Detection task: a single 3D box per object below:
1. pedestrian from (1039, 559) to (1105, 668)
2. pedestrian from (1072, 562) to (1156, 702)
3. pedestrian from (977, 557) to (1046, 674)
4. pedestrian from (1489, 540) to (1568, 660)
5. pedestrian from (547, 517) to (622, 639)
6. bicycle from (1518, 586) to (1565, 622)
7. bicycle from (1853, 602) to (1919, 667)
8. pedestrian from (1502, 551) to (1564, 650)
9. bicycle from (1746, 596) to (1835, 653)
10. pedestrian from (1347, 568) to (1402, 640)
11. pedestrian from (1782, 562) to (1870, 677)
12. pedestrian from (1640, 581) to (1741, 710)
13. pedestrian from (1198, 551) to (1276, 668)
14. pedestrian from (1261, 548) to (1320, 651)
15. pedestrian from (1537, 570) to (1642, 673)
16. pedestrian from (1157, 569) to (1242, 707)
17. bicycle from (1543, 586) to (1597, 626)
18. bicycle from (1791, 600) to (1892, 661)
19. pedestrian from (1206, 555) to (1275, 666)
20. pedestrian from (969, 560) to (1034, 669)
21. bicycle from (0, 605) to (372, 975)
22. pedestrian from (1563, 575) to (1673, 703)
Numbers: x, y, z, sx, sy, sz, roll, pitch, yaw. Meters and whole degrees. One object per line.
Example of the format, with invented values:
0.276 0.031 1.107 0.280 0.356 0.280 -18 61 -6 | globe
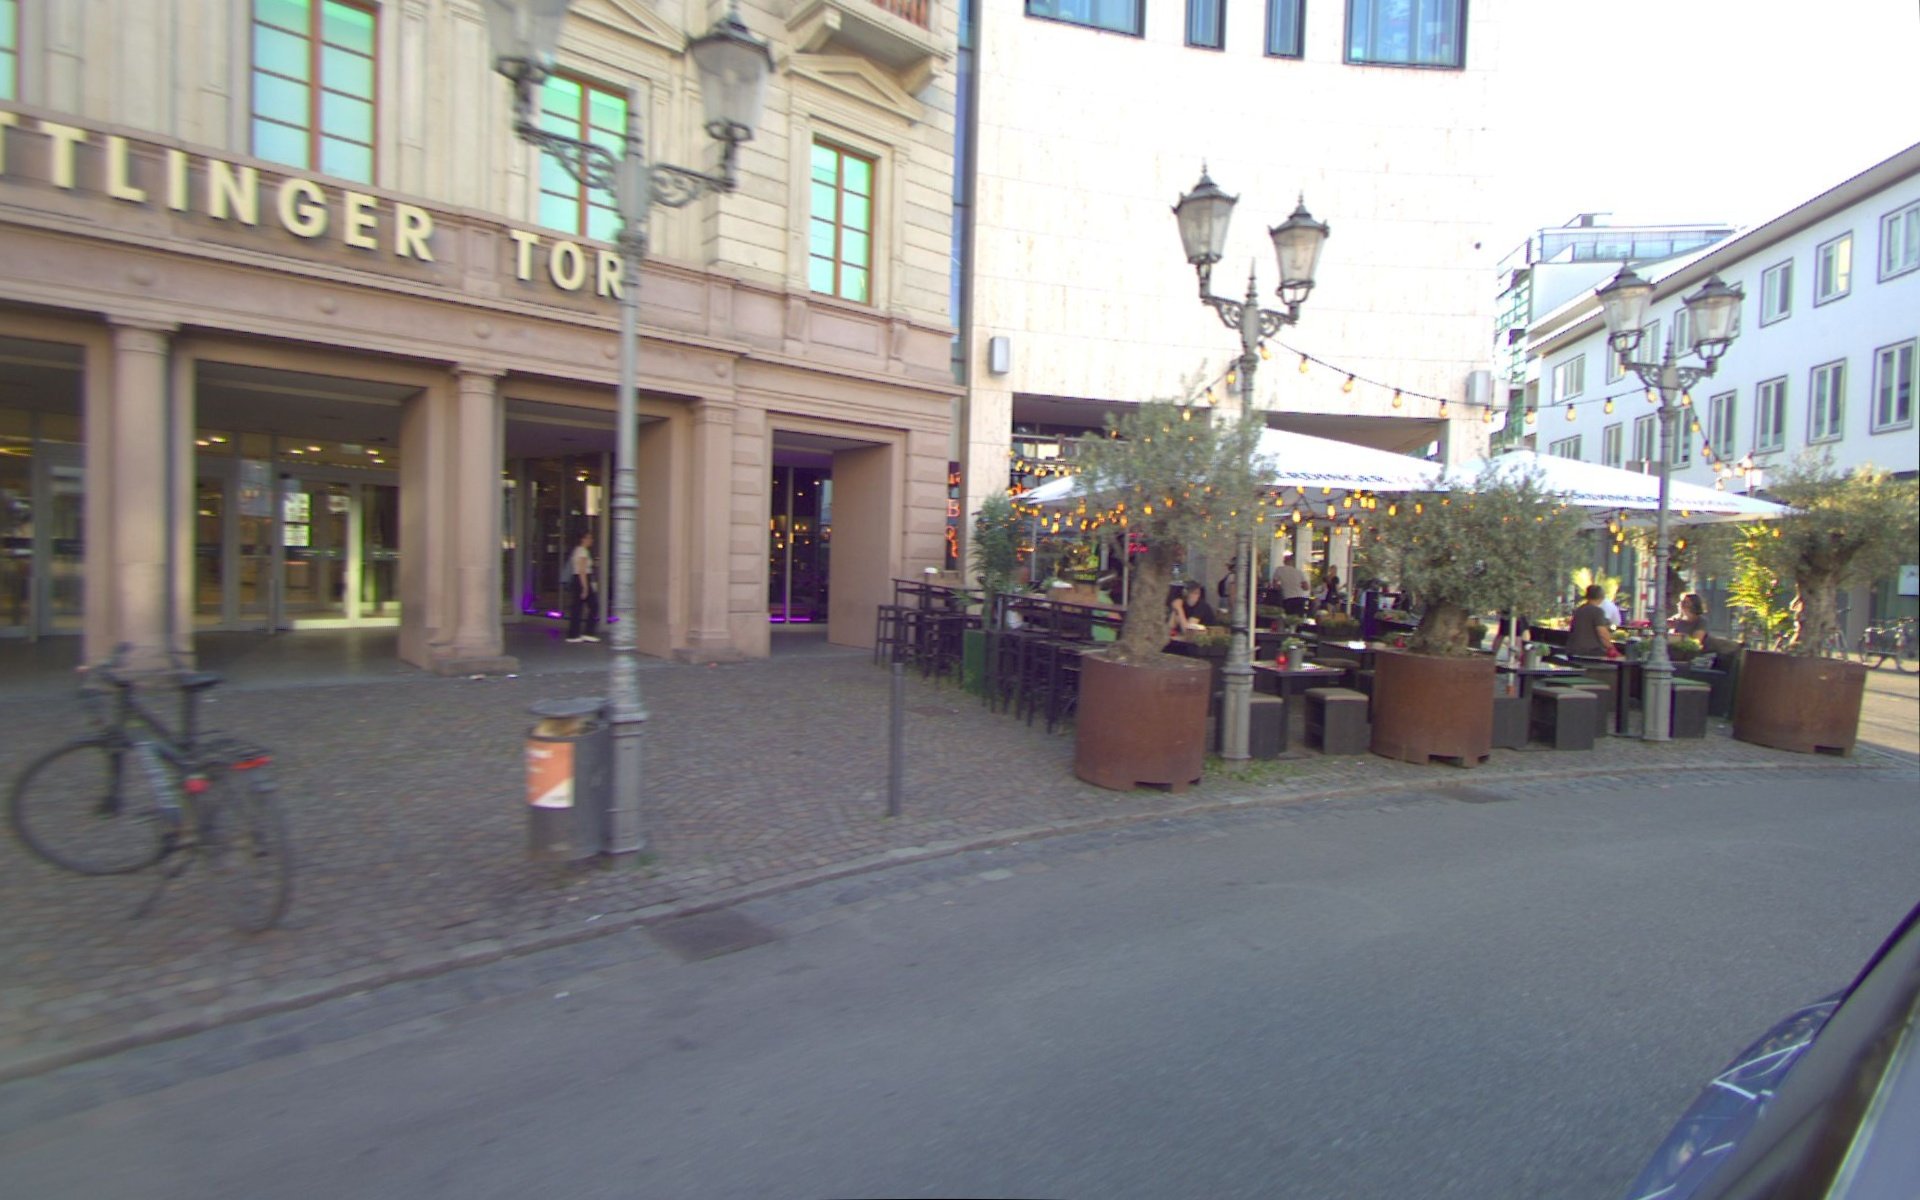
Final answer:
1.555 0.167 14.207 0.837 1.465 0.774 2 2 3 | pedestrian
1.718 0.325 11.226 0.852 1.465 0.721 2 2 12 | pedestrian
0.659 0.185 13.315 0.837 1.465 0.775 2 2 2 | pedestrian
8.618 -0.010 15.372 0.702 1.768 0.711 1 2 -6 | pedestrian
-5.636 -0.336 15.180 0.856 1.768 0.716 0 2 -39 | pedestrian
21.557 0.122 37.563 0.786 1.232 2.227 2 2 10 | bicycle
18.424 0.667 19.642 0.513 1.155 1.962 2 2 5 | bicycle
10.615 -0.008 18.763 0.704 1.768 0.709 2 2 7 | pedestrian
19.007 0.533 23.217 0.513 1.155 1.962 2 2 5 | bicycle
8.215 0.067 20.084 0.769 1.365 0.710 2 2 2 | pedestrian
13.969 0.284 16.323 0.906 1.762 0.932 0 2 -43 | pedestrian
8.698 0.517 12.082 0.682 1.465 0.721 2 2 12 | pedestrian
4.483 0.143 16.417 0.962 1.825 0.730 1 1 -5 | pedestrian
5.784 -0.020 17.745 0.702 1.768 0.711 1 2 -6 | pedestrian
9.415 0.293 15.184 0.928 1.465 0.971 2 2 3 | pedestrian
2.676 0.399 11.373 0.852 1.465 0.721 2 2 12 | pedestrian
20.596 0.188 34.219 0.786 1.232 2.227 2 2 10 | bicycle
18.677 0.619 21.502 0.513 1.155 1.962 2 2 5 | bicycle
4.735 0.159 17.113 0.833 1.825 0.731 1 1 -9 | pedestrian
0.583 0.184 14.187 0.837 1.465 0.774 2 2 3 | pedestrian
-3.371 0.671 4.196 1.886 1.141 0.602 5 2 24 | bicycle
7.943 0.446 12.254 0.852 1.465 0.721 2 2 12 | pedestrian
